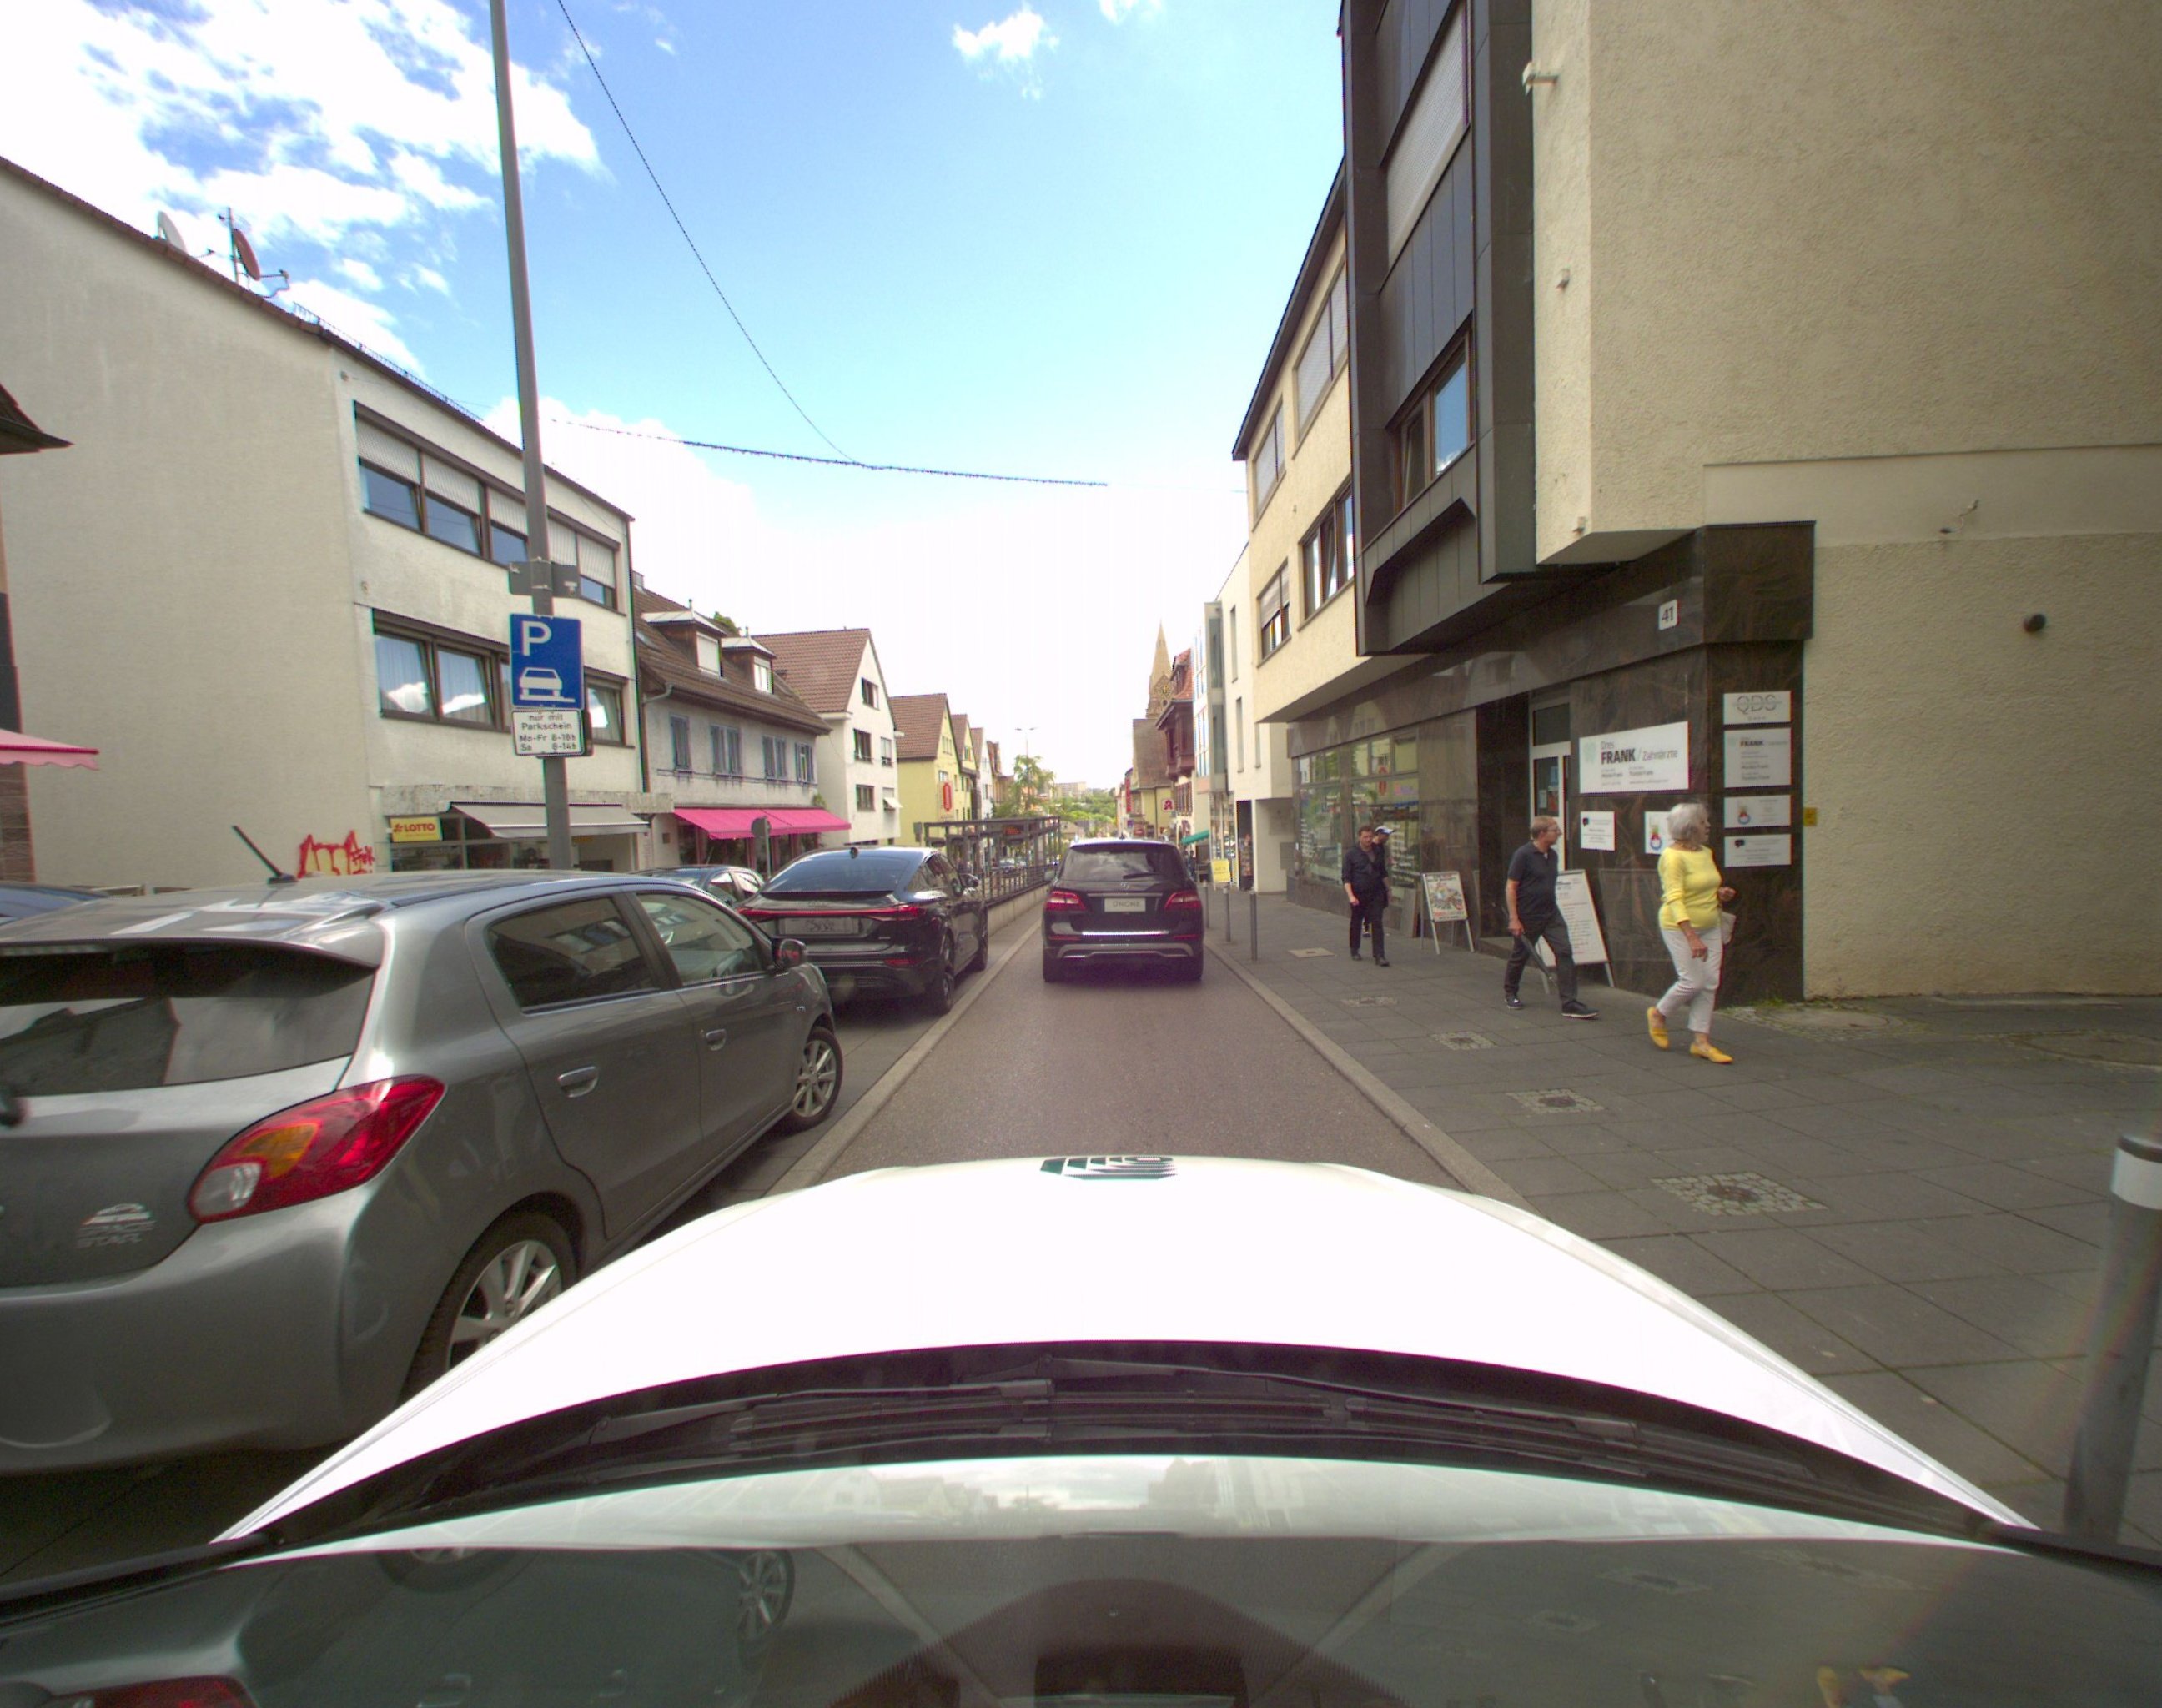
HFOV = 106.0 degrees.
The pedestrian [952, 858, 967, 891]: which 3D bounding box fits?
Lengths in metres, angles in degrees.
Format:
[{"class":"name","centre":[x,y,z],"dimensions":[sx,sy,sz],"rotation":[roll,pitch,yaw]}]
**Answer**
[{"class":"pedestrian","centre":[-6.314,1.054,42.328],"dimensions":[0.615,1.689,0.558],"rotation":[0,0,-29]}]

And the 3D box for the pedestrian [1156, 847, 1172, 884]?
[{"class":"pedestrian","centre":[3.887,0.531,38.050],"dimensions":[0.620,1.689,0.565],"rotation":[0,0,-5]}]

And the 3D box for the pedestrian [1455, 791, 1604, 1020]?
[{"class":"pedestrian","centre":[3.710,0.404,6.804],"dimensions":[0.708,1.753,0.785],"rotation":[-4,0,1]}]

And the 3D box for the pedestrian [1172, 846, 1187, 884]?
[{"class":"pedestrian","centre":[4.614,0.506,38.274],"dimensions":[0.541,1.726,0.527],"rotation":[-3,0,-5]}]

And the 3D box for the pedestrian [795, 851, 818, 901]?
[{"class":"pedestrian","centre":[-9.386,0.733,27.859],"dimensions":[0.576,1.689,0.577],"rotation":[0,0,1]}]

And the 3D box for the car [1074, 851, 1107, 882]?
[{"class":"car","centre":[0.544,0.678,46.081],"dimensions":[1.764,1.713,4.001],"rotation":[0,0,1]}]

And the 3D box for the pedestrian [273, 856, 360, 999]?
[{"class":"pedestrian","centre":[-9.584,0.891,10.207],"dimensions":[0.638,1.689,0.670],"rotation":[-2,1,41]}]

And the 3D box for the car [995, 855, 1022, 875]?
[{"class":"car","centre":[-5.781,0.865,64.989],"dimensions":[1.683,1.490,3.980],"rotation":[0,0,2]}]

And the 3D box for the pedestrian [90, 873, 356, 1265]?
[{"class":"pedestrian","centre":[-3.445,0.813,3.308],"dimensions":[0.465,1.431,0.492],"rotation":[-4,0,1]}]

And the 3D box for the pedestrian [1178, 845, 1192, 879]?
[{"class":"pedestrian","centre":[5.176,0.399,40.498],"dimensions":[0.572,1.689,0.565],"rotation":[0,0,-5]}]

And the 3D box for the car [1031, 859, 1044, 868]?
[{"class":"car","centre":[-5.543,1.241,104.852],"dimensions":[1.383,1.070,3.114],"rotation":[-3,0,2]}]

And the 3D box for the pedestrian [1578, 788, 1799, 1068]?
[{"class":"pedestrian","centre":[3.905,0.440,5.310],"dimensions":[0.708,1.631,0.835],"rotation":[-4,0,1]}]

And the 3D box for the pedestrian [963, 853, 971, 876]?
[{"class":"pedestrian","centre":[-8.311,0.782,59.262],"dimensions":[0.511,1.689,0.541],"rotation":[0,0,1]}]

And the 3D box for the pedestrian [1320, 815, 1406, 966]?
[{"class":"pedestrian","centre":[3.490,0.434,10.139],"dimensions":[0.708,1.753,0.787],"rotation":[-4,0,1]}]

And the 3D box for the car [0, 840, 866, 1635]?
[{"class":"car","centre":[-2.241,0.748,3.416],"dimensions":[1.614,1.532,3.671],"rotation":[-1,0,1]}]

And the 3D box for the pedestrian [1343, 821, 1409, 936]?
[{"class":"pedestrian","centre":[4.566,0.368,12.628],"dimensions":[0.662,1.689,0.542],"rotation":[-5,0,-5]}]

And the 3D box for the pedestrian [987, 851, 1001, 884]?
[{"class":"pedestrian","centre":[-4.526,0.689,42.223],"dimensions":[0.623,1.689,0.679],"rotation":[0,0,1]}]

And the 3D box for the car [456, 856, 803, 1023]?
[{"class":"car","centre":[-4.727,0.770,9.265],"dimensions":[1.733,1.475,3.884],"rotation":[-1,0,1]}]

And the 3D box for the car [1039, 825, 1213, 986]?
[{"class":"car","centre":[0.487,0.565,10.919],"dimensions":[1.895,1.747,3.999],"rotation":[0,0,0]}]

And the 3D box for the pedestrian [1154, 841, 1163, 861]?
[{"class":"pedestrian","centre":[6.448,-0.244,67.728],"dimensions":[0.604,1.688,0.724],"rotation":[-3,0,1]}]

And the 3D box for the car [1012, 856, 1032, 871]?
[{"class":"car","centre":[-5.918,0.951,82.350],"dimensions":[1.654,1.490,3.749],"rotation":[0,0,2]}]

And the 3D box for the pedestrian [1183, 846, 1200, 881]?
[{"class":"pedestrian","centre":[5.374,0.467,39.619],"dimensions":[0.572,1.689,0.565],"rotation":[-3,0,-5]}]

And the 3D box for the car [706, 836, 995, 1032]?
[{"class":"car","centre":[-2.188,0.680,9.076],"dimensions":[1.950,1.639,4.314],"rotation":[-1,0,0]}]

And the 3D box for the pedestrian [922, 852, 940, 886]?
[{"class":"pedestrian","centre":[-7.636,0.764,41.497],"dimensions":[0.722,1.689,0.768],"rotation":[0,0,1]}]

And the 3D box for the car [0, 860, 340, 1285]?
[{"class":"car","centre":[-4.844,0.841,2.216],"dimensions":[1.733,1.543,4.193],"rotation":[-3,0,0]}]
